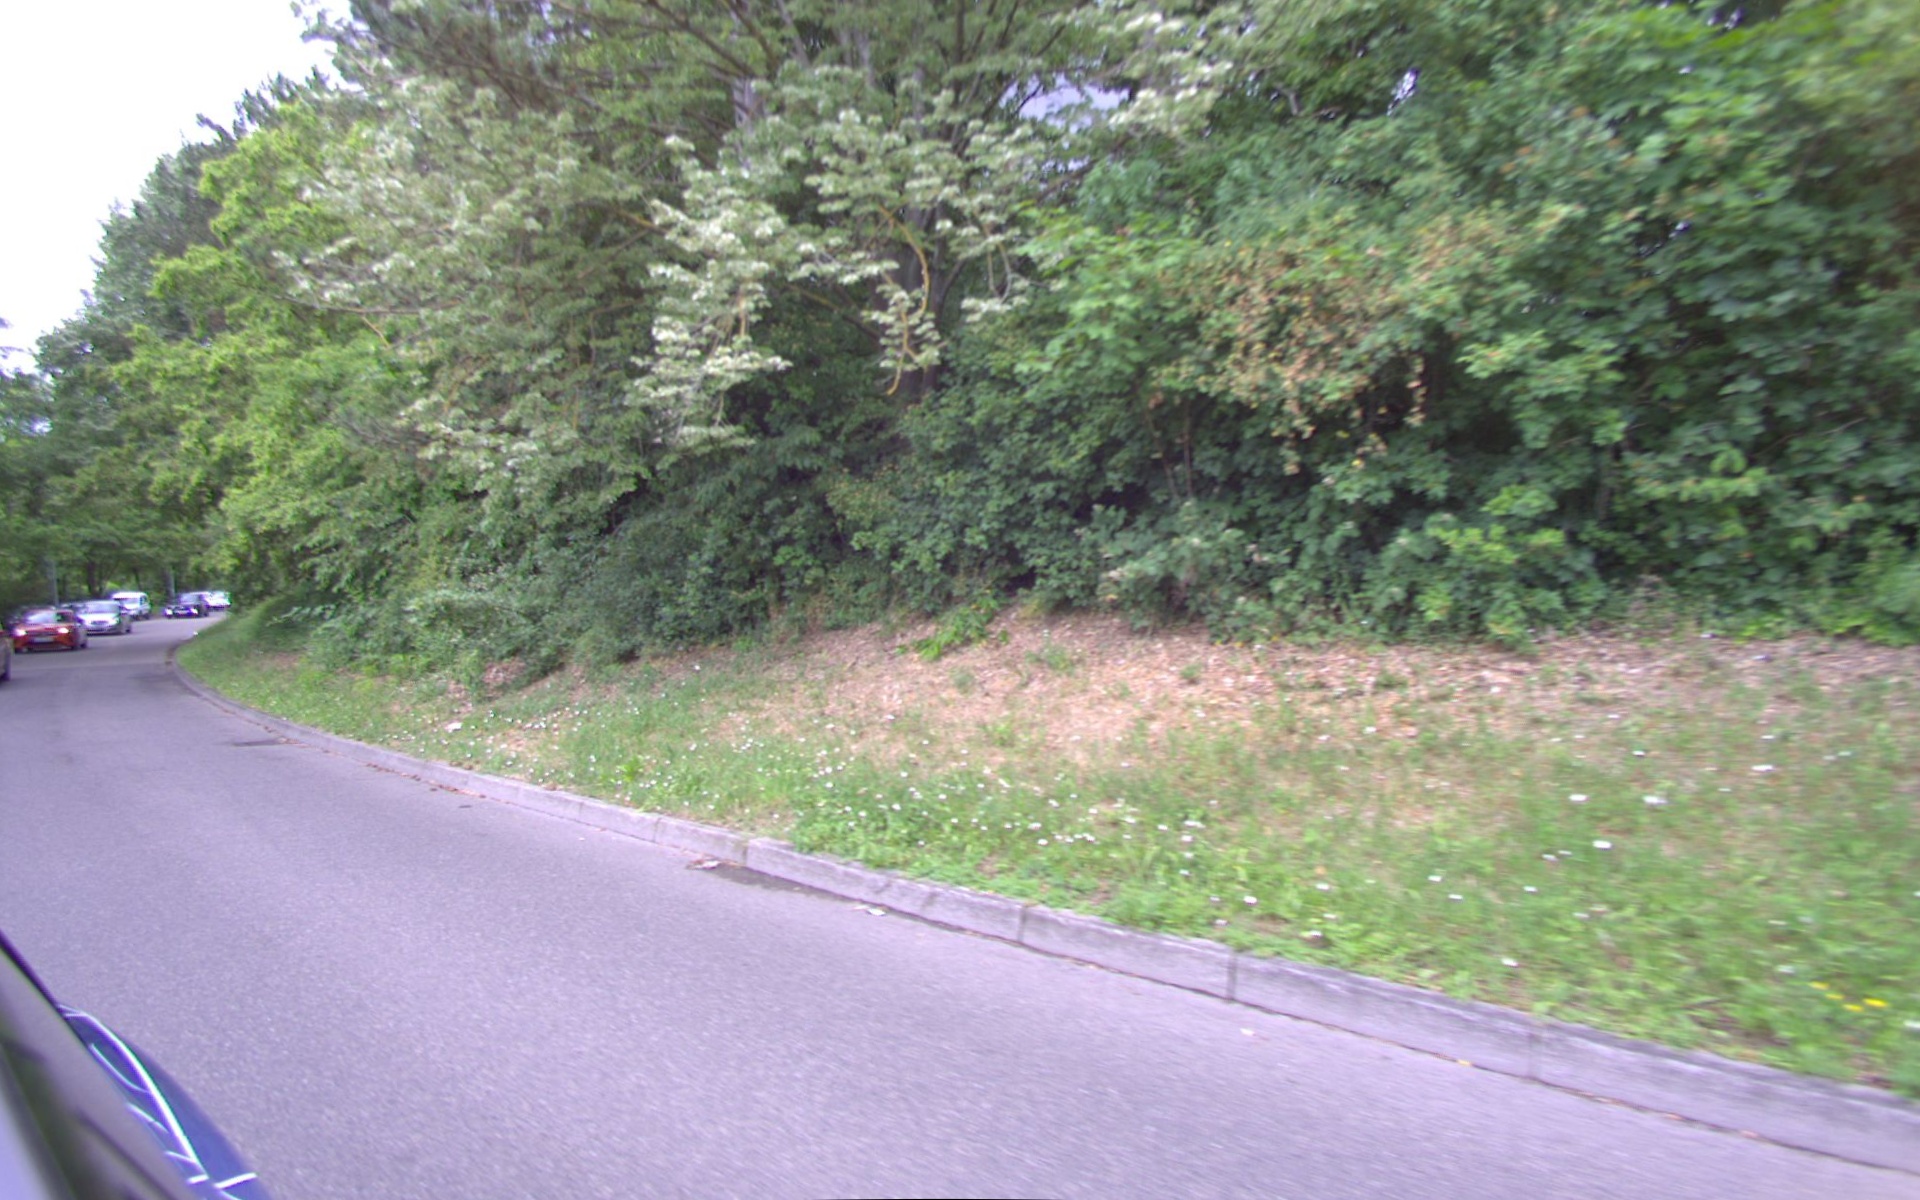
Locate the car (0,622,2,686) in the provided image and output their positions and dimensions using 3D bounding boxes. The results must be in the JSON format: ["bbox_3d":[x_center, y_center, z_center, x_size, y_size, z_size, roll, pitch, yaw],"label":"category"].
[{"bbox_3d":[-21.285,1.004,20.992,1.970,1.640,4.630,-3,1,-43],"label":"car"}]

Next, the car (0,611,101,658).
[{"bbox_3d":[-31.867,1.147,35.536,1.836,1.459,4.189,-2,1,-30],"label":"car"}]

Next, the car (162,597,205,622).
[{"bbox_3d":[-51.465,0.629,67.135,1.739,1.528,4.012,-3,2,-30],"label":"car"}]

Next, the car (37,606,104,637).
[{"bbox_3d":[-47.179,1.111,53.776,1.836,1.459,4.189,-2,1,-30],"label":"car"}]

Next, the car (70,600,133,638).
[{"bbox_3d":[-40.039,0.868,47.284,1.892,1.694,4.010,0,0,-36],"label":"car"}]

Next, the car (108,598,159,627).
[{"bbox_3d":[-53.684,0.803,65.804,1.836,1.739,4.189,-2,1,-30],"label":"car"}]

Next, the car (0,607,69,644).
[{"bbox_3d":[-43.969,1.174,47.989,1.837,1.579,4.188,-2,1,-32],"label":"car"}]
